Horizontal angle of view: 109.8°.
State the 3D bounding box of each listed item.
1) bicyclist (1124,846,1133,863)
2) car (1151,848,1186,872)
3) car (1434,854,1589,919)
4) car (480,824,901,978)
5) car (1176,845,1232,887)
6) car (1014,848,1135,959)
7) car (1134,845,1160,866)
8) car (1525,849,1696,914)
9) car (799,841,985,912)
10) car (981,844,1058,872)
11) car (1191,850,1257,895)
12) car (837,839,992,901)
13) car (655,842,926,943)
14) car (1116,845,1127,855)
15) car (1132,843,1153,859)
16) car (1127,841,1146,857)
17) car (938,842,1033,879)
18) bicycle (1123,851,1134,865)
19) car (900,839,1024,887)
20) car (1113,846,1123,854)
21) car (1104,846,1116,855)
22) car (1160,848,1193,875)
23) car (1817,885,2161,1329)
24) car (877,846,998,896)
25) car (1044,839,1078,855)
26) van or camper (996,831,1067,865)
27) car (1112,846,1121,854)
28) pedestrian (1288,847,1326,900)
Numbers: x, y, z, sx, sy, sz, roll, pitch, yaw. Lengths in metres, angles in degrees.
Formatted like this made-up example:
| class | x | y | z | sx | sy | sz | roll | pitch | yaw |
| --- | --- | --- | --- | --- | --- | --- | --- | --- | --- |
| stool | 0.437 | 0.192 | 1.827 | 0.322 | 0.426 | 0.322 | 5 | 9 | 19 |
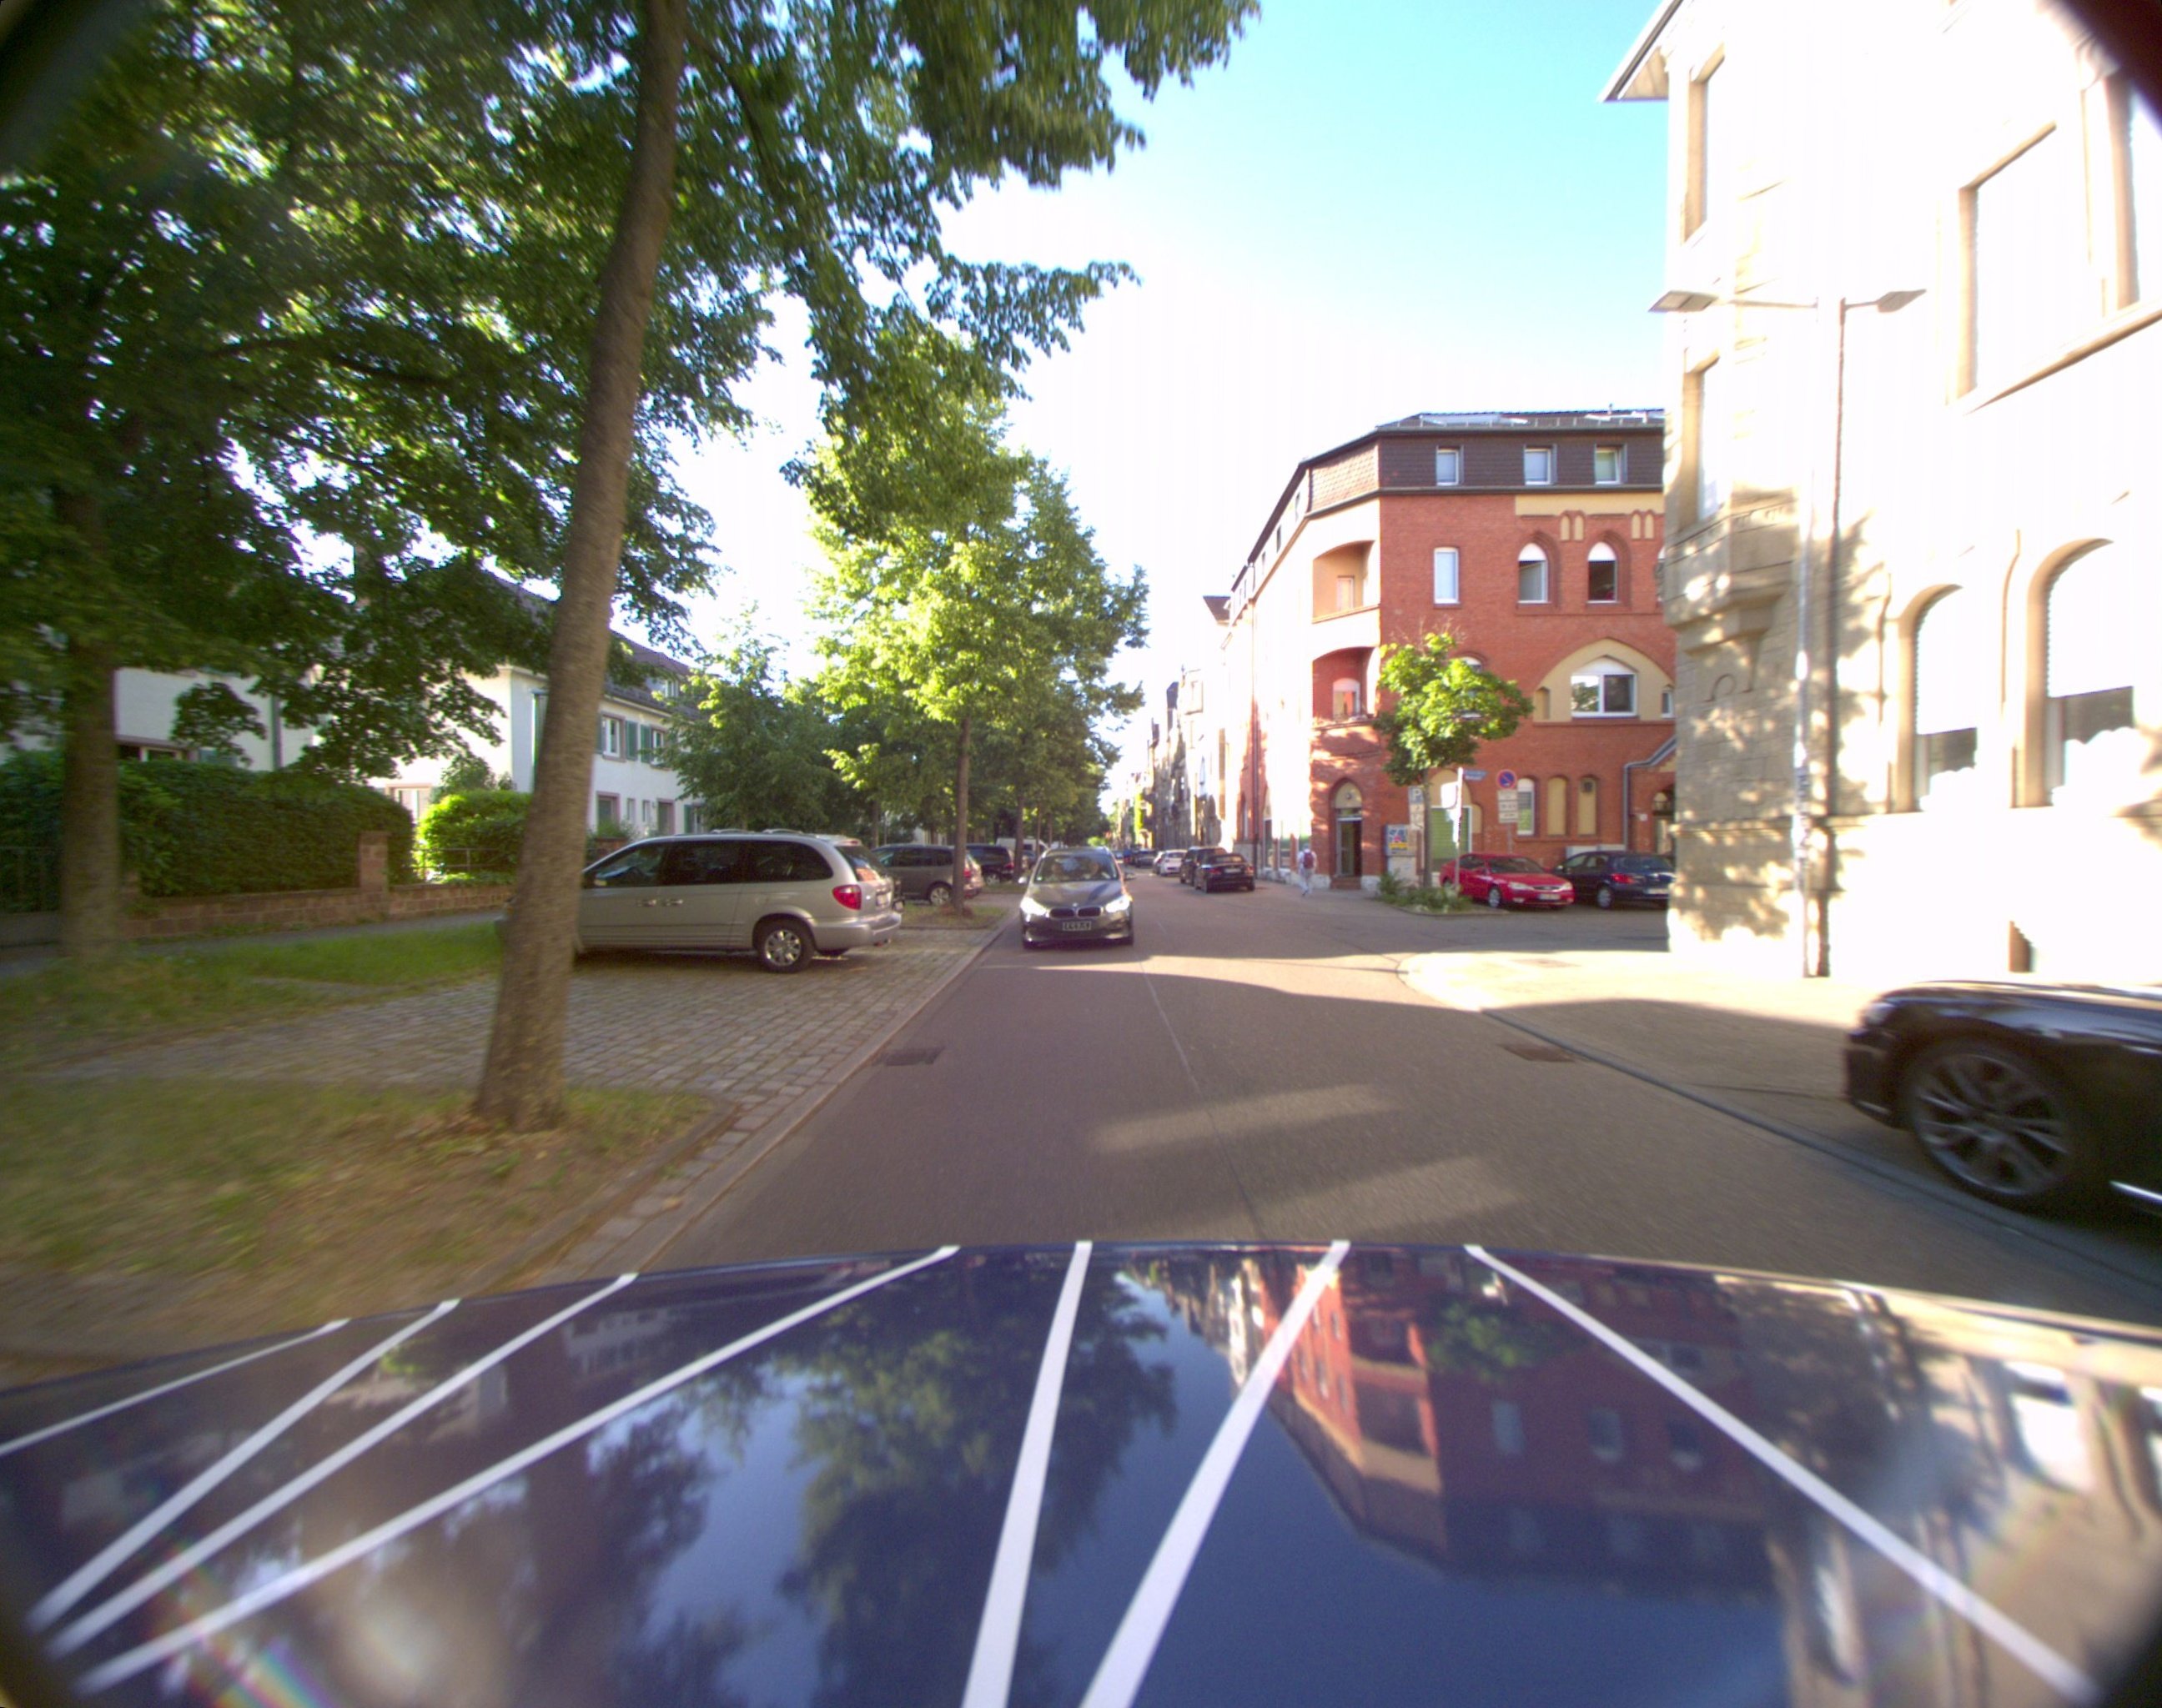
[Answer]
| class | x | y | z | sx | sy | sz | roll | pitch | yaw |
| --- | --- | --- | --- | --- | --- | --- | --- | --- | --- |
| bicyclist | 4.040 | 0.058 | 64.583 | 0.761 | 1.446 | 0.948 | 1 | 2 | 1 |
| car | 5.526 | 0.356 | 48.368 | 1.681 | 1.434 | 4.111 | -2 | 0 | 0 |
| car | 11.456 | 0.789 | 20.634 | 1.639 | 1.460 | 4.657 | -1 | 1 | 1 |
| car | -4.949 | 0.555 | 10.067 | 4.630 | 1.700 | 1.833 | 2 | 1 | 2 |
| car | 5.327 | 0.476 | 33.349 | 1.673 | 1.671 | 4.349 | -1 | 1 | -1 |
| car | -0.046 | 0.739 | 13.651 | 1.753 | 1.596 | 4.550 | -2 | 0 | 1 |
| car | 5.562 | 0.123 | 64.229 | 1.881 | 1.707 | 4.339 | -1 | 0 | 1 |
| car | 14.117 | 0.658 | 20.587 | 1.717 | 1.541 | 4.212 | 0 | 1 | 1 |
| car | -4.935 | 0.575 | 20.395 | 4.552 | 1.624 | 1.811 | 3 | 1 | -5 |
| car | -4.024 | 0.257 | 50.158 | 4.850 | 1.530 | 1.894 | 3 | 1 | -1 |
| car | 5.150 | 0.629 | 27.886 | 1.639 | 1.402 | 4.332 | -3 | 1 | 1 |
| car | -5.079 | 0.469 | 23.484 | 4.282 | 1.624 | 1.690 | 3 | 1 | 4 |
| car | -4.992 | 0.633 | 13.431 | 4.077 | 1.468 | 1.694 | 3 | 0 | 2 |
| car | 6.895 | -0.669 | 128.126 | 1.686 | 1.496 | 3.629 | -4 | -1 | 2 |
| car | 6.113 | -0.363 | 76.211 | 1.774 | 1.493 | 4.211 | 0 | 2 | 0 |
| car | 6.073 | -0.576 | 82.903 | 1.774 | 1.658 | 4.211 | -1 | 1 | 0 |
| car | -4.758 | 0.311 | 38.221 | 4.487 | 1.624 | 1.875 | 3 | 1 | 0 |
| bicycle | 4.031 | 0.348 | 64.553 | 0.759 | 1.101 | 1.907 | 1 | 1 | 1 |
| car | -4.755 | 0.337 | 30.865 | 4.592 | 1.667 | 1.907 | 3 | 1 | 3 |
| car | 7.277 | -0.752 | 149.520 | 1.710 | 1.496 | 3.629 | -4 | -1 | 2 |
| car | 4.597 | -0.570 | 121.239 | 1.631 | 1.469 | 3.758 | 1 | 1 | -1 |
| car | 5.389 | 0.417 | 43.197 | 1.570 | 1.462 | 3.591 | -1 | 0 | 3 |
| car | 4.674 | 0.946 | 1.441 | 1.816 | 1.418 | 4.897 | -3 | 1 | 0 |
| car | -4.804 | 0.541 | 25.755 | 3.731 | 1.445 | 1.589 | 3 | 1 | 0 |
| car | -3.309 | -1.165 | 124.353 | 5.448 | 2.646 | 2.134 | 1 | 1 | 1 |
| van or camper | -4.096 | -0.493 | 63.596 | 5.733 | 2.502 | 2.162 | 3 | 1 | 0 |
| car | 7.271 | -0.829 | 157.652 | 1.710 | 1.496 | 3.629 | -4 | -1 | 2 |
| pedestrian | 6.933 | 0.588 | 23.344 | 0.890 | 1.568 | 1.053 | -1 | 3 | 1 |
